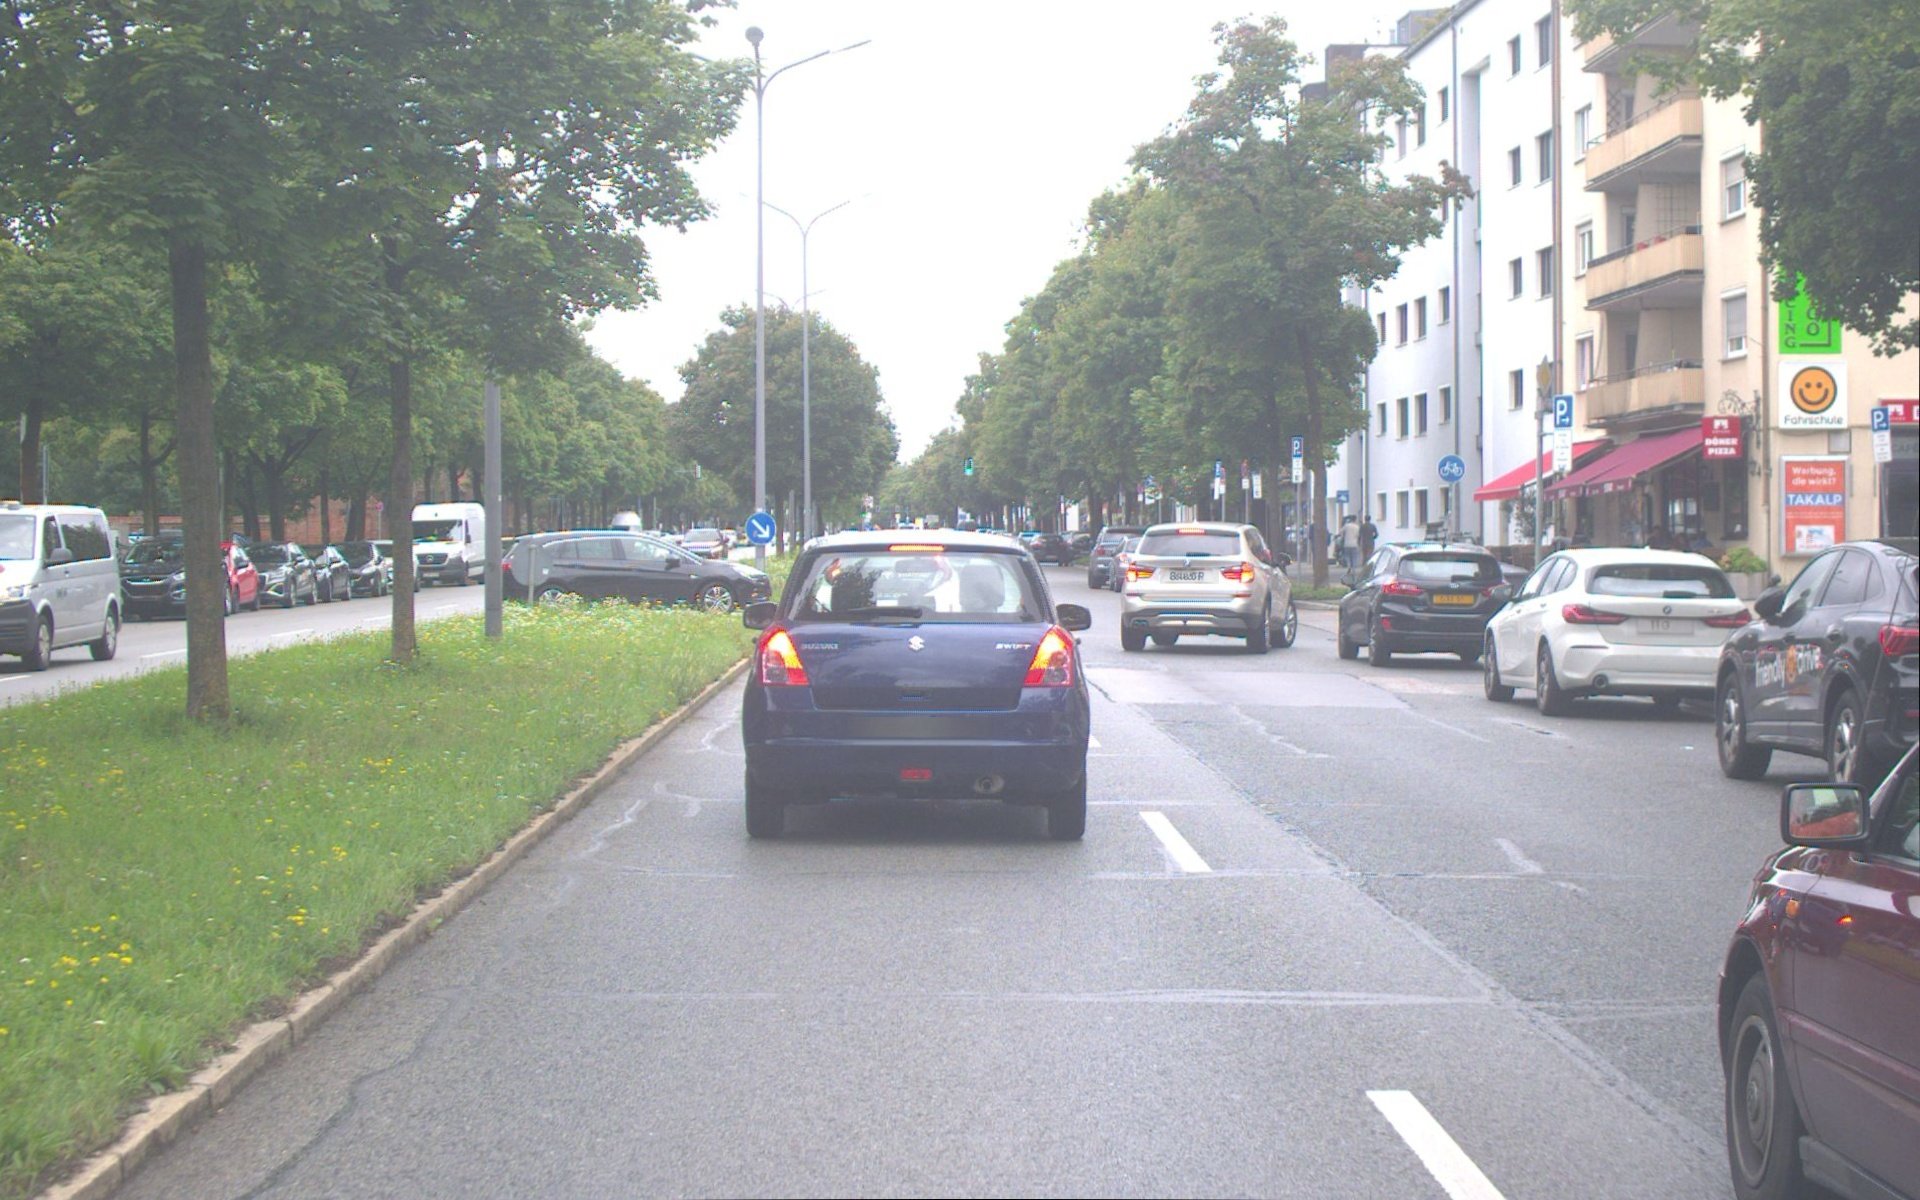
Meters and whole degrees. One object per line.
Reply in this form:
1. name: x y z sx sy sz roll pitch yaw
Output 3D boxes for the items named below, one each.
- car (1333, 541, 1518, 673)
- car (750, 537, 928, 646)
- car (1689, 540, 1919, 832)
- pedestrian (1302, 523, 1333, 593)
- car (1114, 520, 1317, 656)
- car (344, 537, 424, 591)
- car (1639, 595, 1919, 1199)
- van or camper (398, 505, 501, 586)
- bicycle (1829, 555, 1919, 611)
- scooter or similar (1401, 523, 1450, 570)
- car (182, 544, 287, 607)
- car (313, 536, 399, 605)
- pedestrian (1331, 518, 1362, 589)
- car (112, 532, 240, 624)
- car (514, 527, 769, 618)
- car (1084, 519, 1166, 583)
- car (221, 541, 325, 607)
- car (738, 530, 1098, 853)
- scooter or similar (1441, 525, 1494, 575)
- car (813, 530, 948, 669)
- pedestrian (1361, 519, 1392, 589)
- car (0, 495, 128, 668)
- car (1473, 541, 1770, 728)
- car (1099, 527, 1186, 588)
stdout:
1. car: 5.509 0.052 41.079 1.617 1.460 3.674 2 1 -1
2. car: -1.757 -0.153 48.688 1.681 1.458 3.735 0 1 -16
3. car: 5.705 0.438 20.526 1.716 1.528 4.276 1 1 -1
4. pedestrian: 10.290 -1.203 98.994 0.794 2.007 1.006 0 1 0
5. car: 3.392 -0.192 44.873 1.867 1.655 4.404 2 1 14
6. car: -15.928 -1.009 95.214 1.632 1.426 3.879 1 1 -1
7. car: 2.508 0.732 6.129 1.682 1.379 3.919 1 1 -2
8. van or camper: -16.196 -1.740 109.387 2.117 2.473 7.449 1 1 0
9. bicycle: 16.191 -0.303 60.062 1.847 0.954 0.557 1 1 -2
10. scooter or similar: 13.284 -1.536 98.155 1.033 1.303 2.755 0 1 0
11. car: -15.452 -0.536 73.359 1.590 1.307 3.381 1 1 -1
12. car: -15.762 -0.781 89.882 1.632 1.735 3.879 1 1 -1
13. pedestrian: 11.123 -1.342 98.925 0.794 2.007 1.006 0 1 0
14. car: -15.417 -0.448 67.743 1.716 1.735 3.879 1 1 -1
15. car: -5.275 -0.469 56.866 4.121 1.463 1.840 0 1 -6
16. car: 4.505 -1.366 94.243 1.865 1.677 4.225 -1 1 -2
17. car: -15.588 -0.613 78.157 1.667 1.440 3.879 1 1 -1
18. car: -0.256 0.389 18.047 1.682 1.496 3.919 0 1 -2
19. scooter or similar: 13.672 -1.358 92.688 1.033 1.303 2.755 0 1 0
20. car: -0.905 -0.034 38.548 1.444 1.478 3.107 0 1 -2
21. pedestrian: 12.000 -1.333 99.061 0.794 2.007 1.006 0 1 0
22. car: -11.390 -0.223 40.970 1.799 1.927 4.994 -2 1 -1
23. car: 5.785 0.251 30.539 1.682 1.460 4.138 2 1 -1
24. car: 4.721 -1.124 89.620 1.865 1.512 4.225 -1 1 -2
